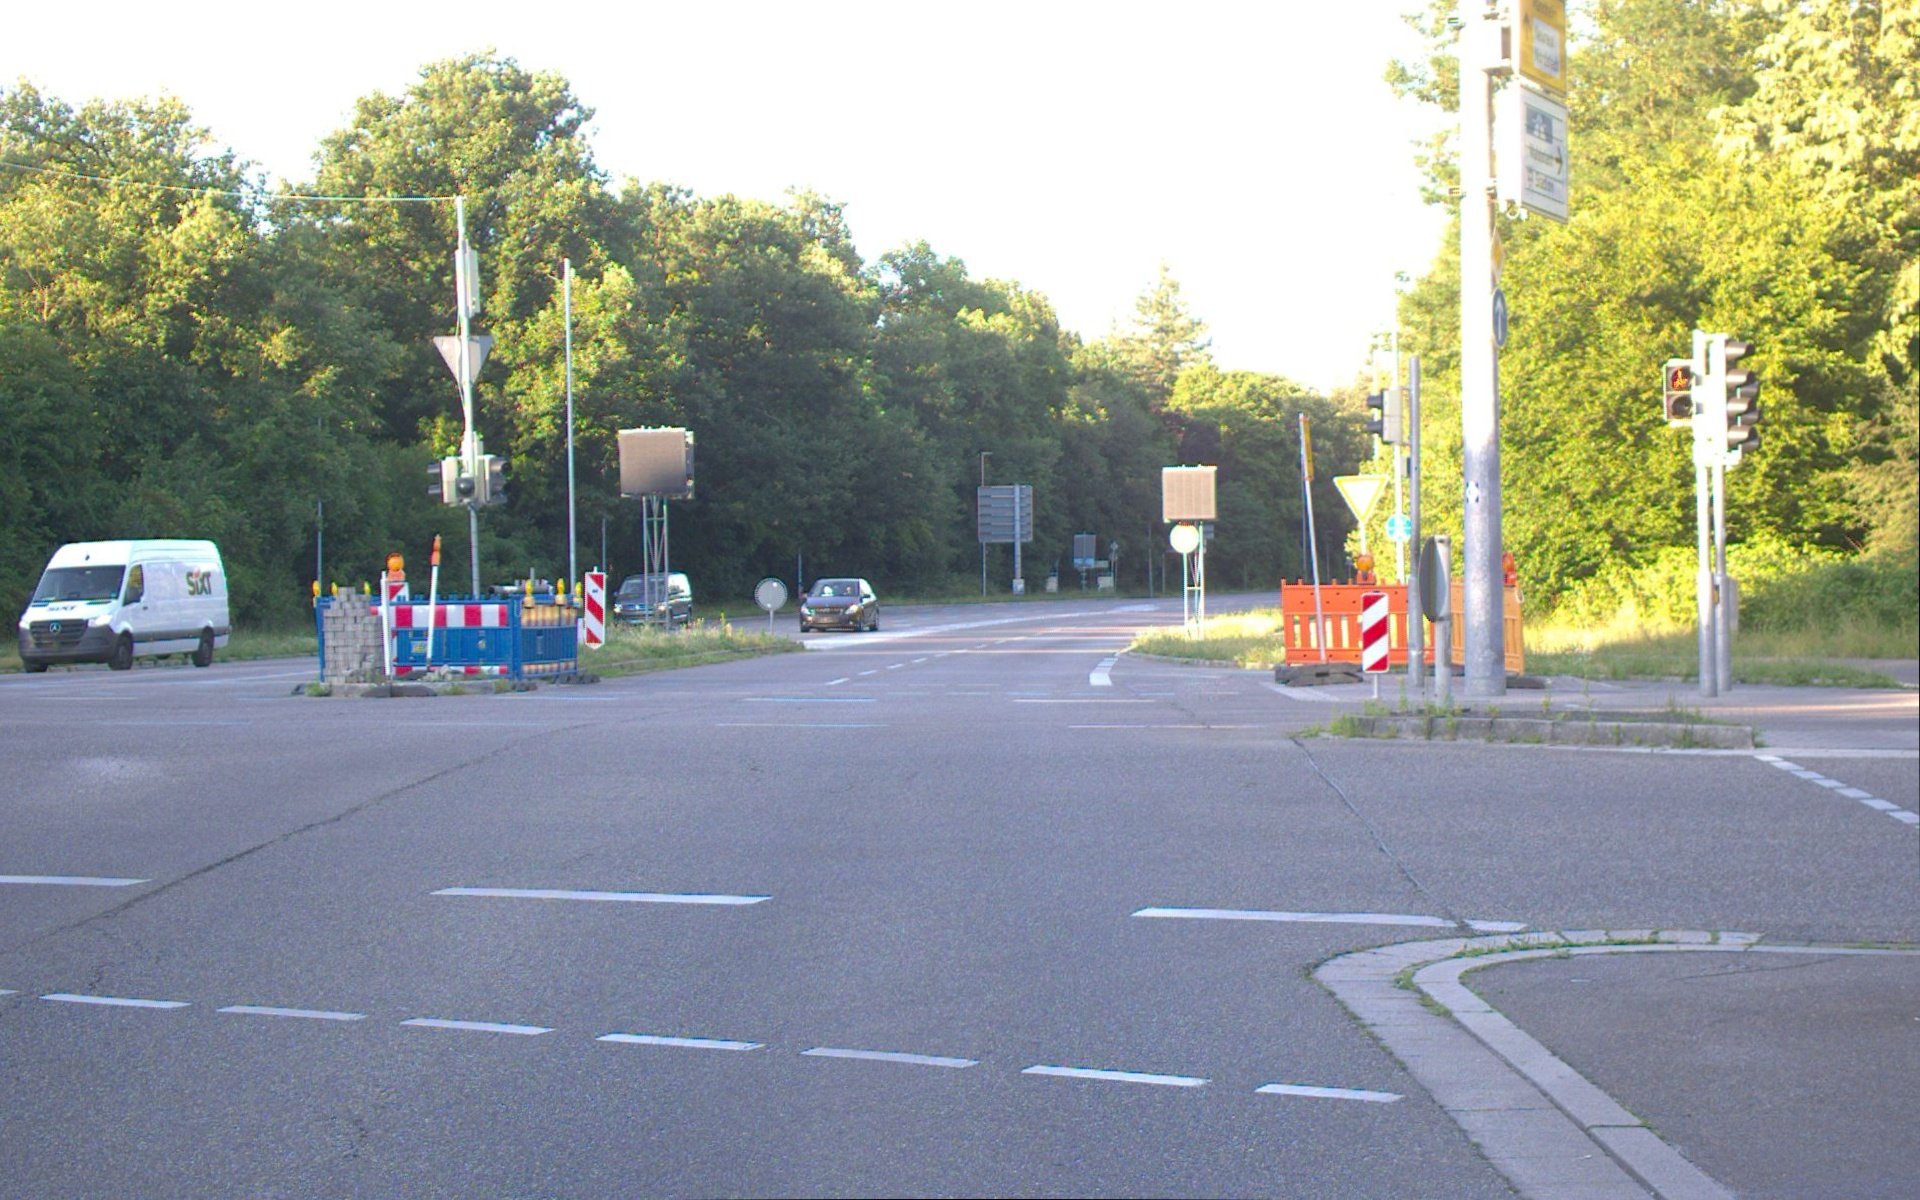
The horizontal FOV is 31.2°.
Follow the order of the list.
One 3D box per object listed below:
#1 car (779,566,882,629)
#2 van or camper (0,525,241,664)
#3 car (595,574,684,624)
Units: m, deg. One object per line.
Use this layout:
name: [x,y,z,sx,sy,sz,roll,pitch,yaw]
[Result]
car: [-3.692,-0.096,98.759,1.994,1.634,3.998,-2,2,12]
van or camper: [-17.097,-0.153,68.982,2.886,2.643,7.119,0,1,9]
car: [-10.870,-0.038,116.846,1.994,1.634,3.998,0,1,10]
